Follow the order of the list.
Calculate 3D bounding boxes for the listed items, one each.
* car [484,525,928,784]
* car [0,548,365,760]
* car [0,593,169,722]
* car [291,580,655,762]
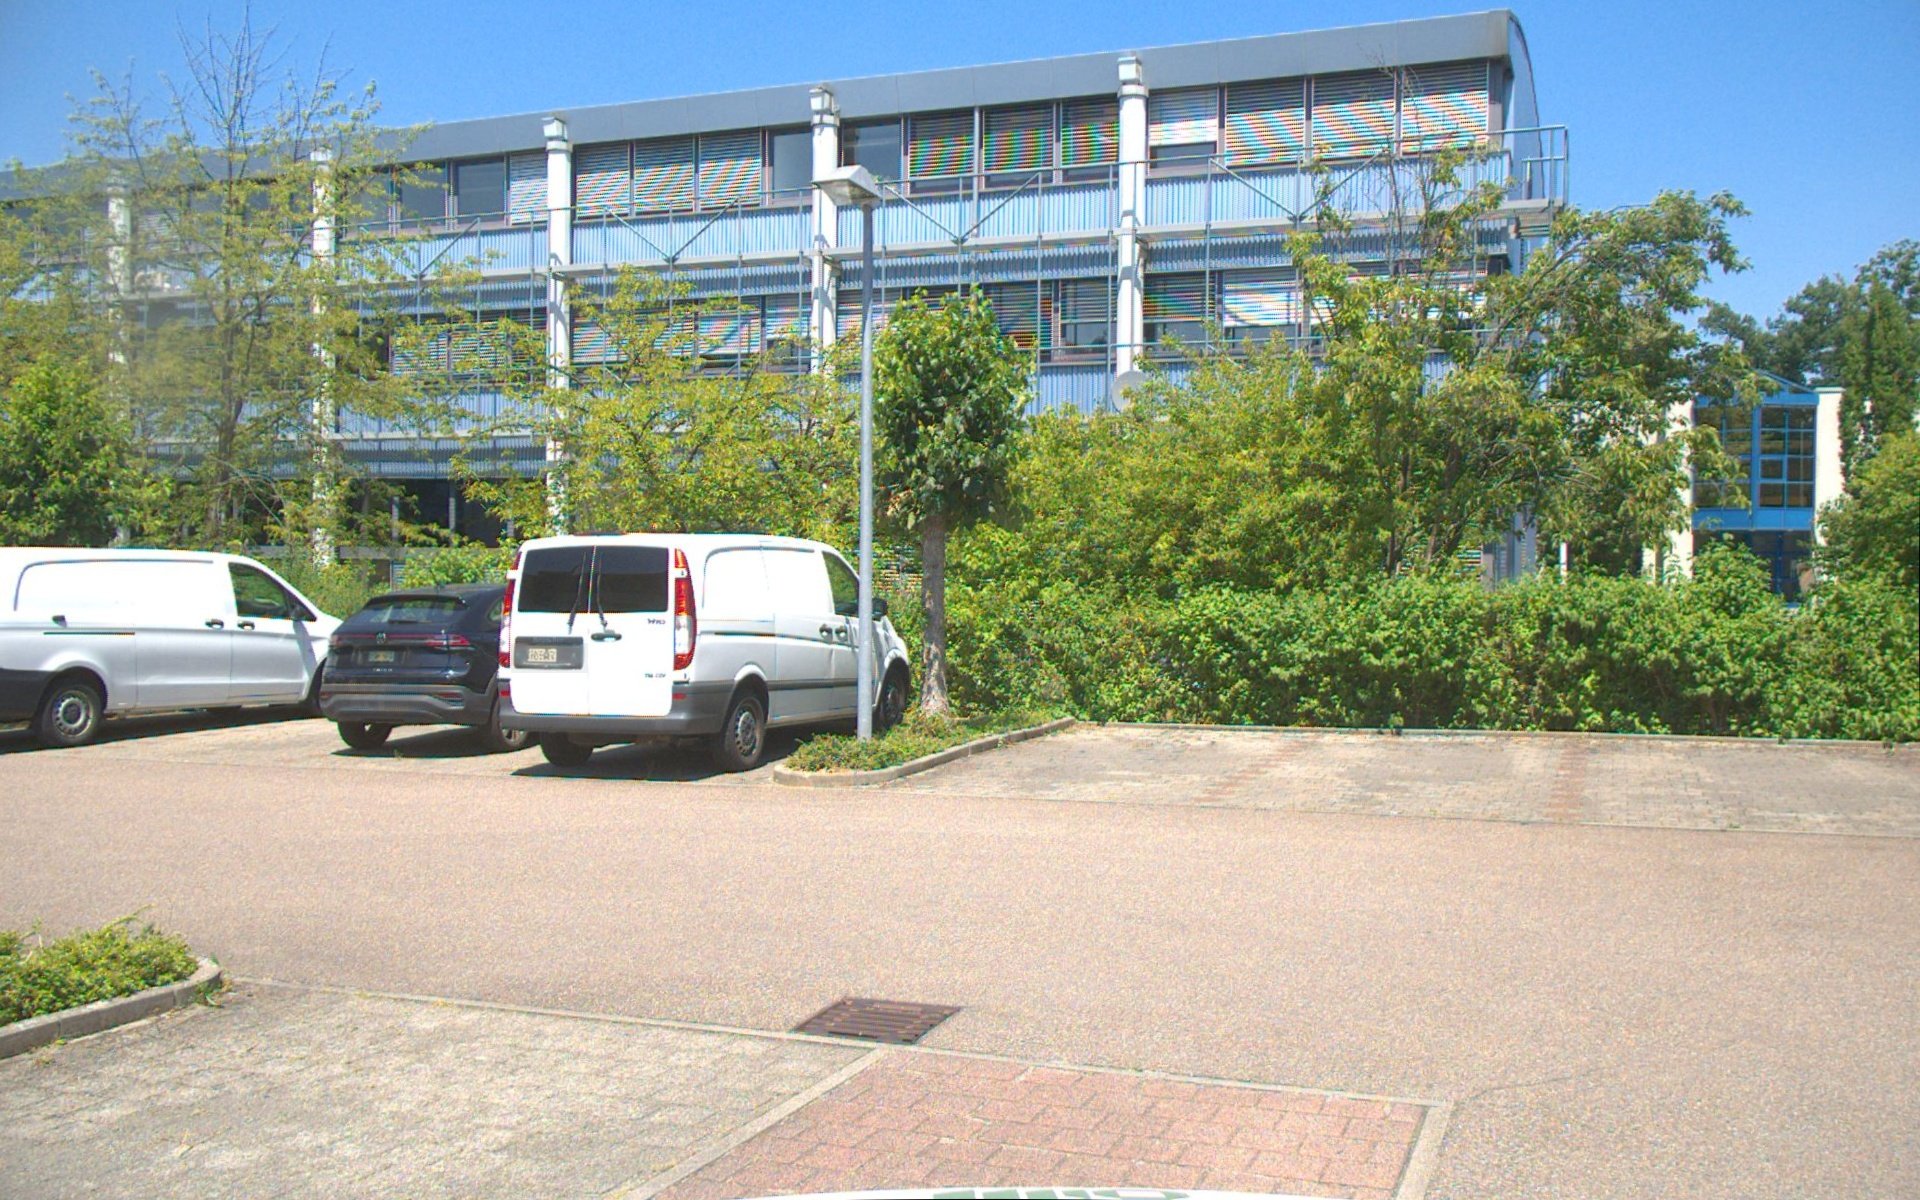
[{"bbox_3d":[-2.035,0.358,14.941,1.873,1.938,4.810,-1,1,20],"label":"car"},{"bbox_3d":[-8.701,0.436,17.401,1.843,1.924,4.803,0,1,22],"label":"car"},{"bbox_3d":[-11.726,0.673,19.705,1.746,1.466,3.999,0,1,23],"label":"car"},{"bbox_3d":[-4.595,0.595,16.282,1.717,1.502,4.004,-1,1,12],"label":"car"}]
